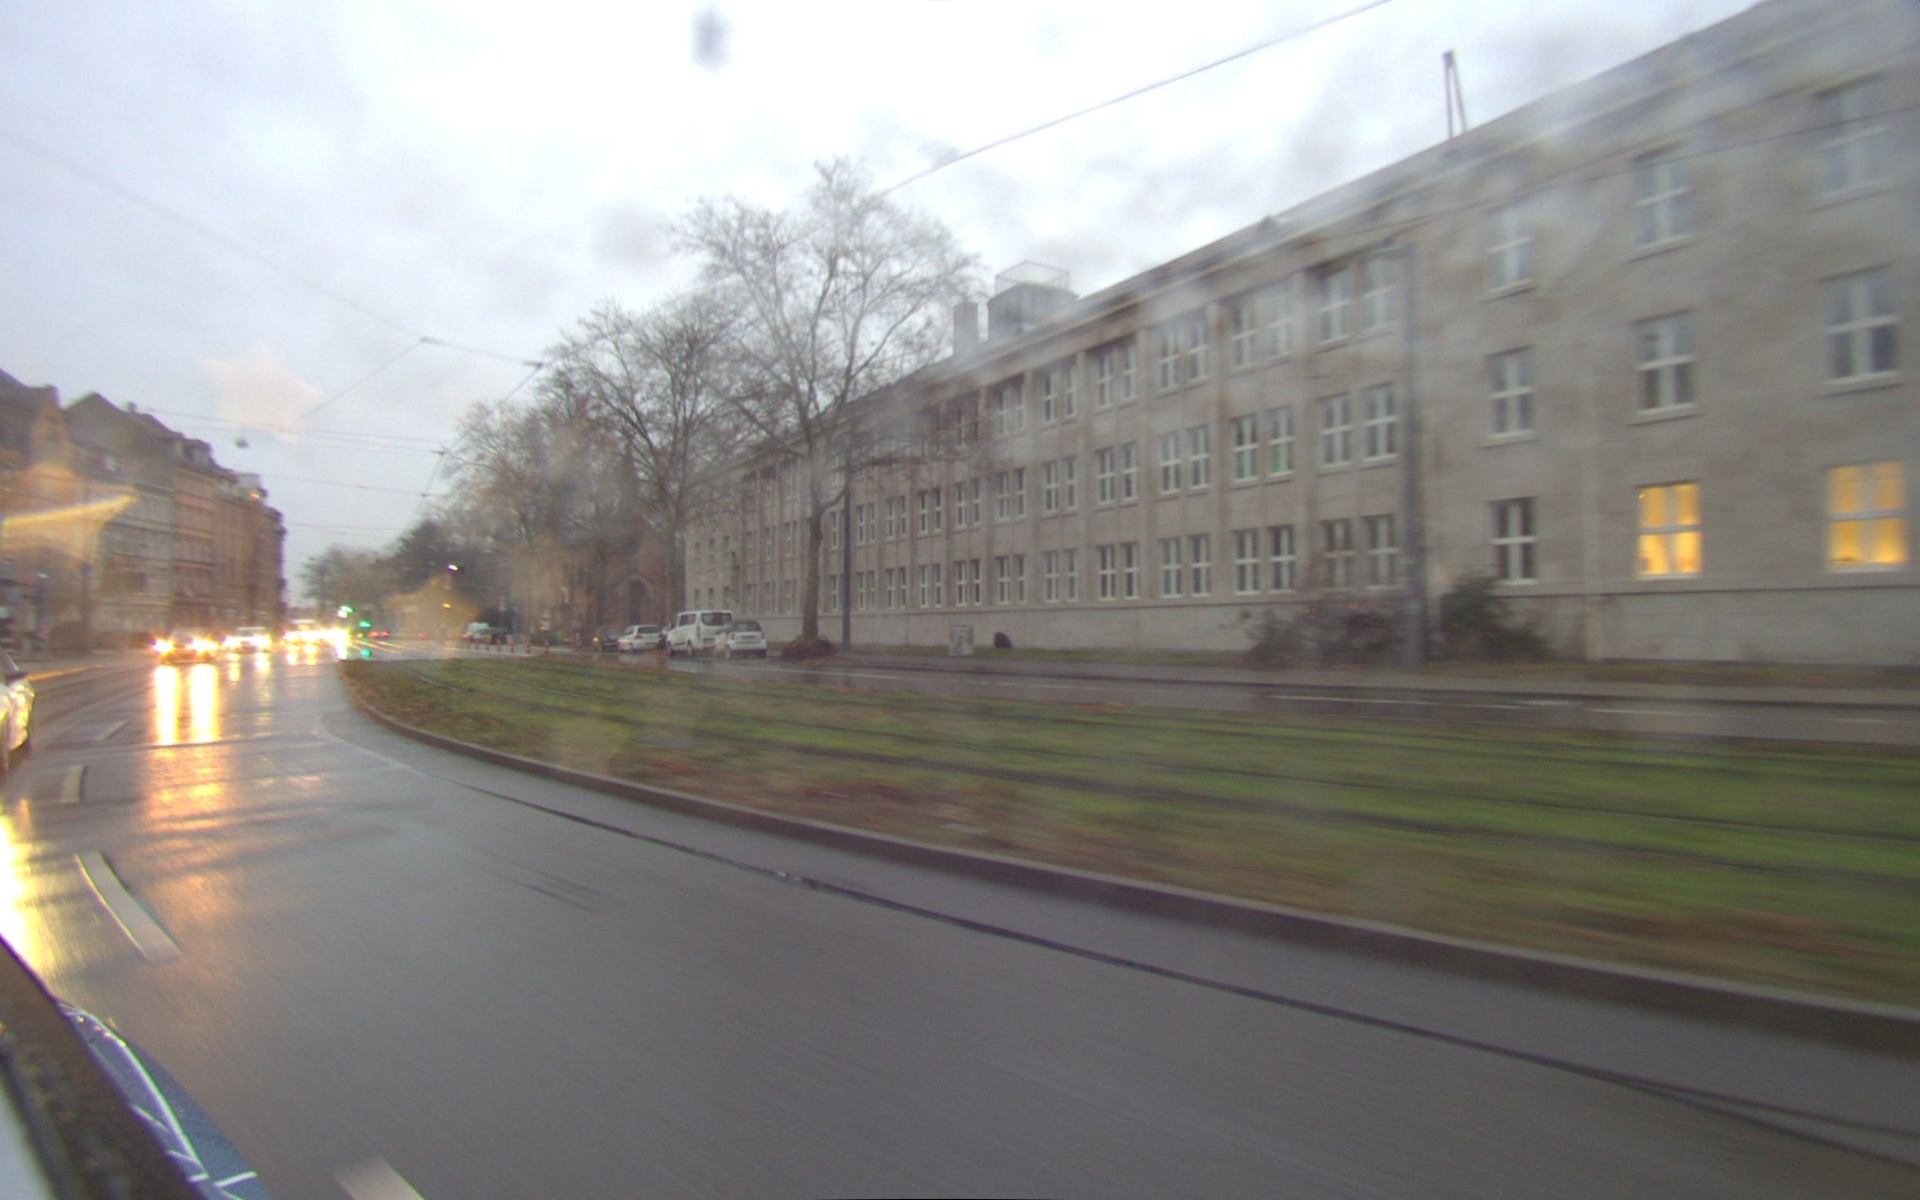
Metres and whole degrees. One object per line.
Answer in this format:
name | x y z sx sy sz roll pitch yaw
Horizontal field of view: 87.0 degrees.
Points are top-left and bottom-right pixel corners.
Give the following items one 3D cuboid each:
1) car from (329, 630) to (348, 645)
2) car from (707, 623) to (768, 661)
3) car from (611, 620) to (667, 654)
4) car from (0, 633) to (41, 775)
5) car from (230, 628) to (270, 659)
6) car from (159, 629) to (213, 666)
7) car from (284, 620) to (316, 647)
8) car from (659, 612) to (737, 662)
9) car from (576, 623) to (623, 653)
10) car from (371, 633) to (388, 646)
car | -76.076 4.581 123.949 1.622 1.763 3.566 1 -2 -25
car | -9.119 1.682 41.391 1.534 1.439 2.963 0 -1 -32
car | -17.071 1.929 53.724 1.797 1.667 3.870 -2 1 -34
car | -11.424 1.131 11.041 1.688 1.423 3.687 -2 0 -37
car | -43.040 2.607 61.316 1.649 1.672 4.156 -2 1 -39
car | -32.072 1.954 41.978 1.564 1.437 3.142 1 -2 -34
car | -62.070 3.125 95.253 2.094 2.398 5.656 -1 0 -29
car | -11.725 1.579 45.122 1.967 2.029 4.522 -2 1 -33
car | -21.059 2.194 59.011 1.590 1.673 3.619 1 -2 -37
car | -85.211 5.823 148.636 1.920 1.829 4.013 0 -2 -25
